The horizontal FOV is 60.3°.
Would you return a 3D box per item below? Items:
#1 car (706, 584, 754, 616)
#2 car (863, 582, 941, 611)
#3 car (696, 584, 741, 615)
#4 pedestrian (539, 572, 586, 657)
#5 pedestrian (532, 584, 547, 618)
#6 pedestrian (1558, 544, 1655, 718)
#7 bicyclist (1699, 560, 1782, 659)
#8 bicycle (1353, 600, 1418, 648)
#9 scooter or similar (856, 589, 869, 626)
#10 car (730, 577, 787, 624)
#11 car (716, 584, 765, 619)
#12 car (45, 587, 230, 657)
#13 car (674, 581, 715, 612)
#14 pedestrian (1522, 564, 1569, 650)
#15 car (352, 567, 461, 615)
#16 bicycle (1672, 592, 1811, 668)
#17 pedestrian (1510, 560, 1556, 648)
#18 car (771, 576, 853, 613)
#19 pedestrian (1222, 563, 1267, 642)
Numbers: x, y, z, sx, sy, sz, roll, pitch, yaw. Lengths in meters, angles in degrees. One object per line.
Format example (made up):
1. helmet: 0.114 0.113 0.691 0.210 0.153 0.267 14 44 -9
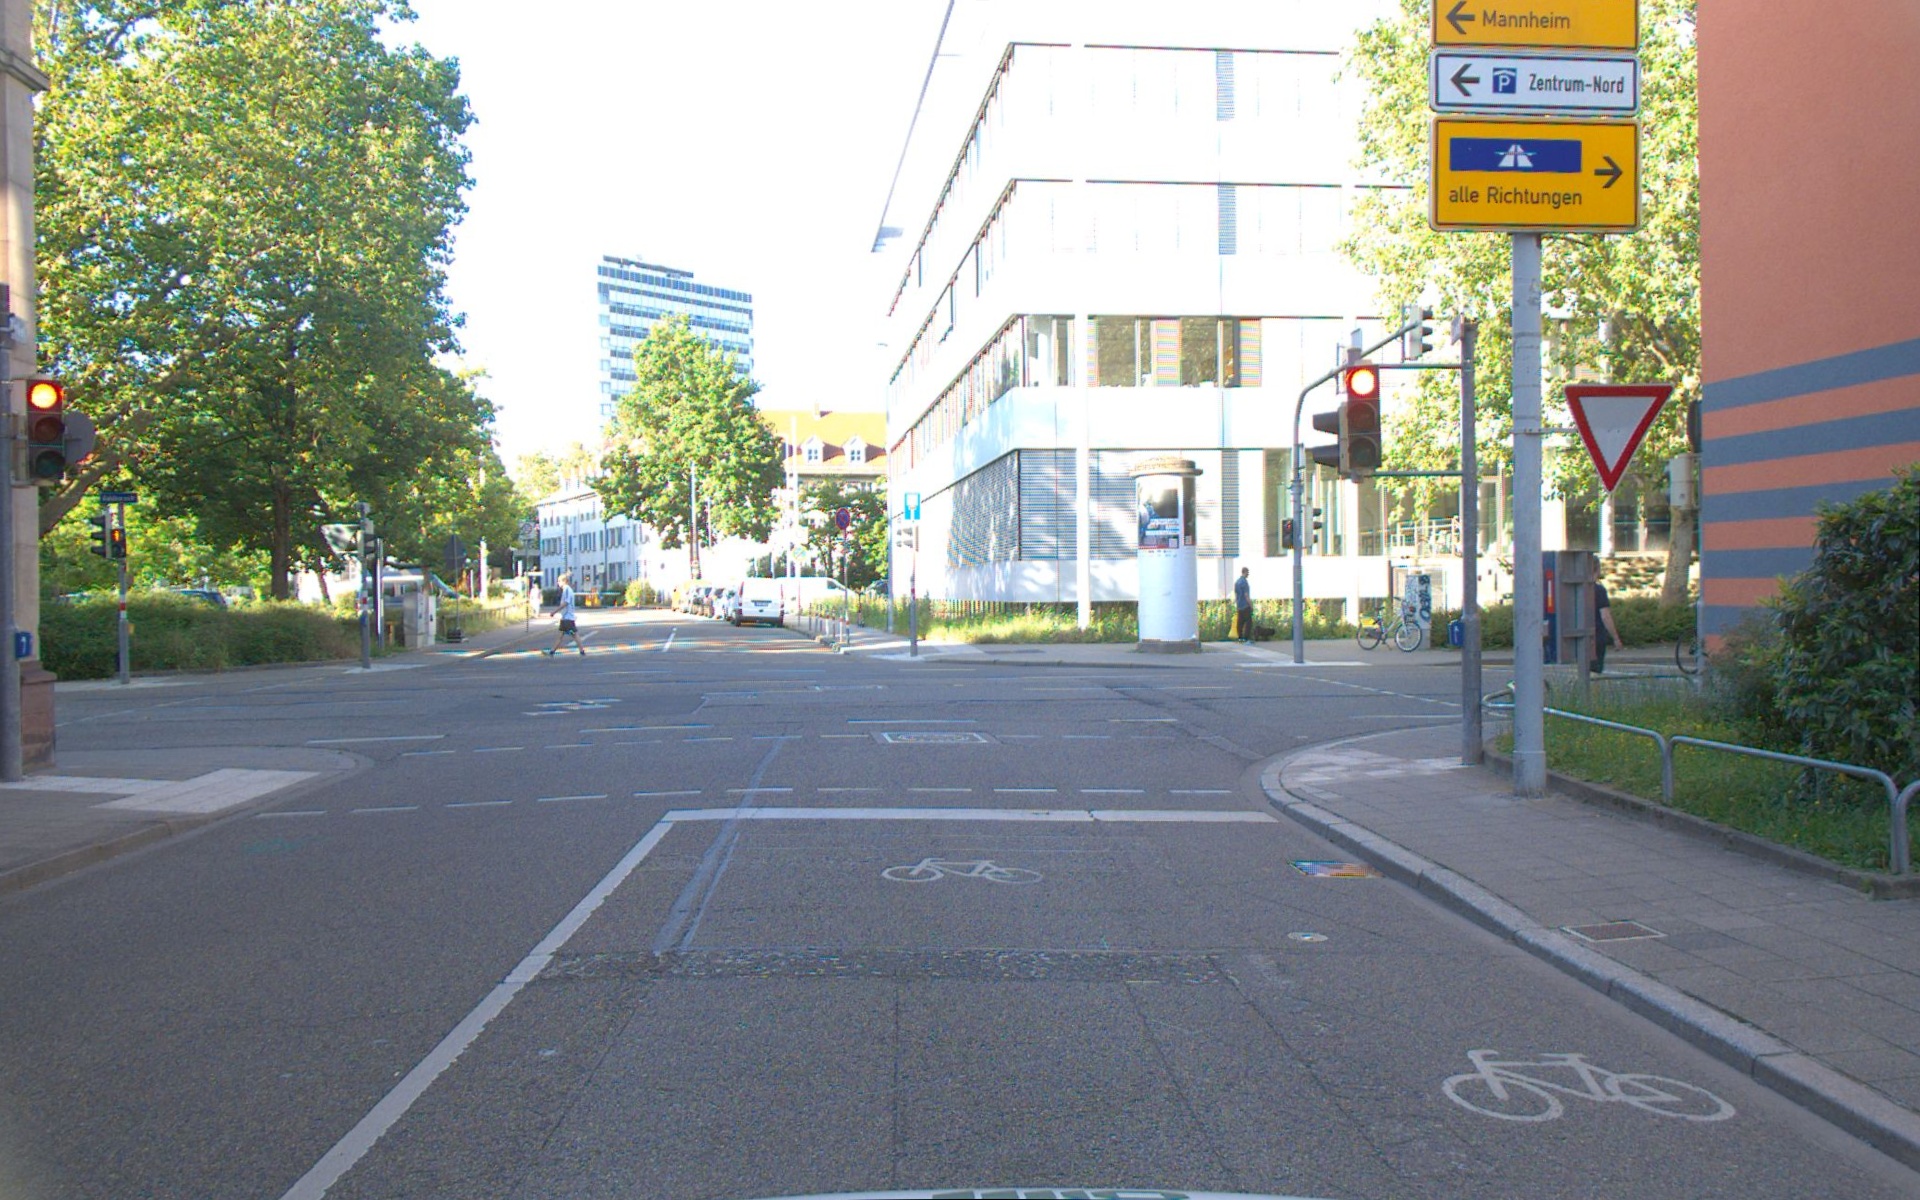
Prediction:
1. car: -11.310 0.000 81.075 1.959 1.525 4.272 1 0 -13
2. car: -3.678 -0.220 104.715 4.563 1.755 1.991 1 0 -17
3. car: -12.553 -0.042 85.781 1.959 1.525 4.637 1 0 -13
4. pedestrian: -9.009 0.320 37.556 0.896 1.901 0.742 1 -1 -5
5. pedestrian: -20.462 0.039 80.518 0.688 1.614 0.634 1 -1 -16
6. pedestrian: 7.026 0.335 17.989 0.711 1.842 0.694 1 -1 -33
7. bicyclist: 12.508 0.153 26.527 1.052 1.554 0.593 -1 0 5
8. bicycle: 9.323 0.512 36.275 0.376 1.026 1.410 -1 0 -42
9. scooter or similar: -3.429 0.273 58.228 0.429 1.278 1.418 -1 0 -5
10. car: -7.918 0.022 64.694 1.957 1.755 4.641 1 0 -10
11. car: -10.196 0.067 76.644 1.958 1.525 4.639 1 0 -11
12. car: -18.367 0.485 37.056 3.347 1.483 1.646 1 0 -11
13. car: -15.386 -0.201 95.596 1.960 1.755 4.635 1 0 -14
14. pedestrian: 12.091 0.142 34.166 0.749 1.749 0.648 1 -1 2
15. car: -24.964 -0.383 74.673 4.363 2.049 1.995 1 0 -10
16. bicycle: 12.520 0.475 26.520 1.922 1.172 0.593 -1 0 5
17. pedestrian: 12.076 0.083 34.861 0.749 1.826 0.648 1 -1 2
18. car: -9.203 -0.337 102.789 4.718 2.196 1.990 1 0 -18
19. pedestrian: 6.722 0.057 39.103 0.895 1.847 0.762 1 -1 -1
